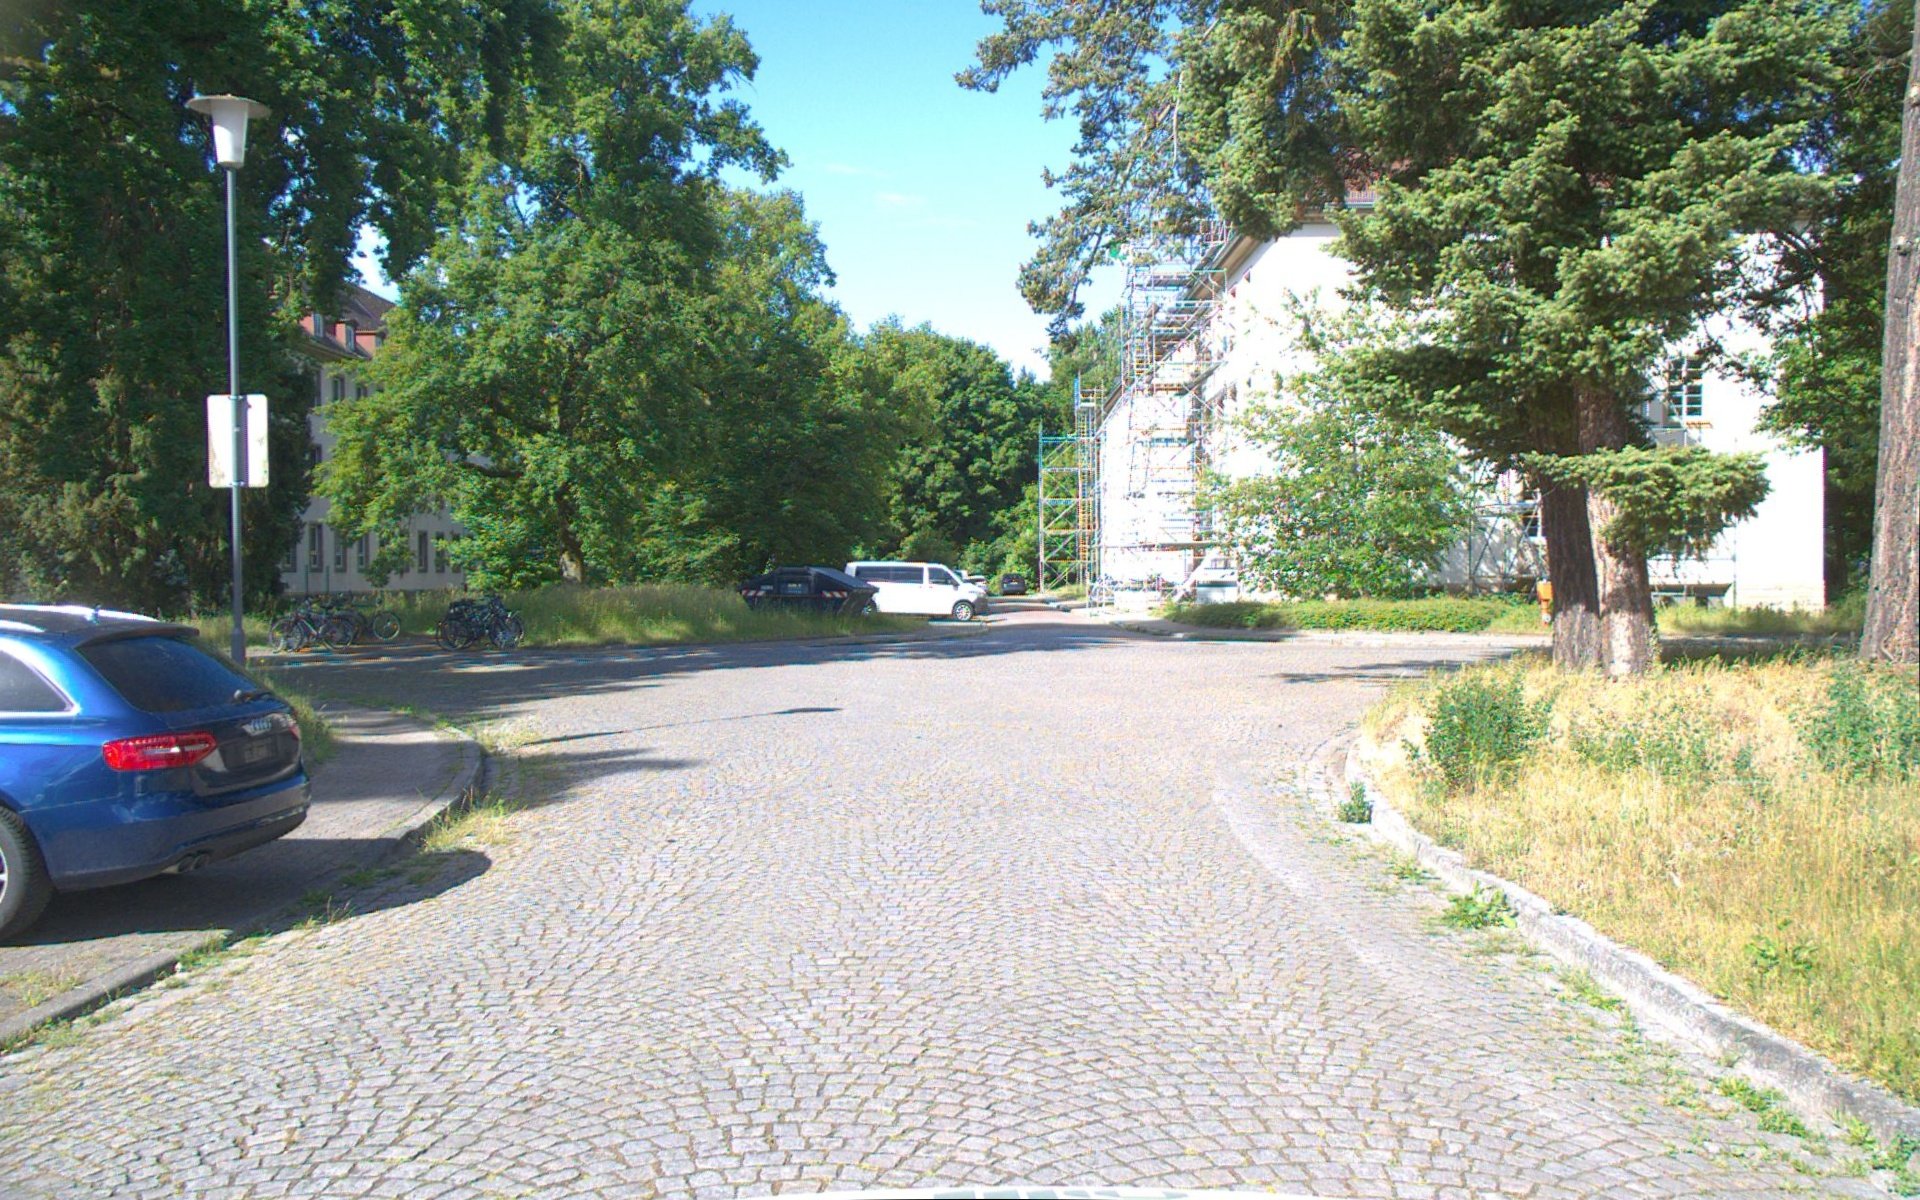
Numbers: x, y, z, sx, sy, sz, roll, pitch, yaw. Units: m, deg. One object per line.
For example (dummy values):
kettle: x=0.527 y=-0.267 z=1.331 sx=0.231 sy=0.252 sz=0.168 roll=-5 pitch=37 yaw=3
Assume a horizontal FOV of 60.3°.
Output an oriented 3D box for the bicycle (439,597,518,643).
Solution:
bicycle: x=-12.490 y=0.505 z=42.931 sx=1.886 sy=1.076 sz=0.473 roll=-3 pitch=1 yaw=-21

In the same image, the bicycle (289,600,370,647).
bicycle: x=-15.936 y=0.590 z=41.822 sx=1.884 sy=1.122 sz=0.567 roll=-1 pitch=2 yaw=-19

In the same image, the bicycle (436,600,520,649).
bicycle: x=-11.735 y=0.580 z=40.262 sx=1.886 sy=1.076 sz=0.473 roll=-3 pitch=1 yaw=-21

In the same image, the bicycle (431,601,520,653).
bicycle: x=-11.152 y=0.618 z=38.097 sx=1.887 sy=1.076 sz=0.472 roll=-3 pitch=1 yaw=-23

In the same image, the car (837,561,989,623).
car: x=-1.580 y=-0.270 z=56.982 sx=5.127 sy=2.051 sz=1.950 roll=-1 pitch=0 yaw=-1

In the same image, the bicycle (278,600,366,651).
bicycle: x=-15.004 y=0.595 z=38.921 sx=1.891 sy=1.122 sz=0.565 roll=-1 pitch=2 yaw=-28

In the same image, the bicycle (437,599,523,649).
bicycle: x=-11.437 y=0.555 z=39.450 sx=1.887 sy=1.076 sz=0.472 roll=-3 pitch=1 yaw=-23

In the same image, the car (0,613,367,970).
car: x=-5.401 y=0.824 z=8.105 sx=4.268 sy=1.470 sz=1.922 roll=0 pitch=1 yaw=3

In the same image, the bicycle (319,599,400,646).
bicycle: x=-14.988 y=0.563 z=41.305 sx=1.884 sy=1.122 sz=0.567 roll=-1 pitch=2 yaw=-19

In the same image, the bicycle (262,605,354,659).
bicycle: x=-14.695 y=0.713 z=37.263 sx=1.888 sy=1.122 sz=0.566 roll=-2 pitch=2 yaw=-25

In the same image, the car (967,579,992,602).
car: x=1.432 y=-0.716 z=122.996 sx=1.775 sy=1.607 sz=4.134 roll=-1 pitch=1 yaw=0

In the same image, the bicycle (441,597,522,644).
bicycle: x=-12.156 y=0.509 z=42.027 sx=1.886 sy=1.076 sz=0.473 roll=-3 pitch=1 yaw=-21

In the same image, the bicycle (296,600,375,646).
bicycle: x=-16.138 y=0.585 z=42.766 sx=1.887 sy=1.122 sz=0.566 roll=-1 pitch=2 yaw=-24

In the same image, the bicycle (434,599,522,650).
bicycle: x=-11.259 y=0.561 z=38.660 sx=1.887 sy=1.076 sz=0.472 roll=-3 pitch=1 yaw=-23

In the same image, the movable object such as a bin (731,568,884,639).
movable object such as a bin: x=-4.030 y=0.089 z=43.887 sx=3.491 sy=1.775 sz=2.026 roll=-1 pitch=0 yaw=19

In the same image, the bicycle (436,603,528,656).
bicycle: x=-10.726 y=0.644 z=37.106 sx=1.892 sy=1.076 sz=0.471 roll=-3 pitch=1 yaw=-29

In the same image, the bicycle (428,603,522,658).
bicycle: x=-10.713 y=0.663 z=36.551 sx=1.892 sy=1.076 sz=0.471 roll=-3 pitch=1 yaw=-29

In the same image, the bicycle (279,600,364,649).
bicycle: x=-15.520 y=0.596 z=40.221 sx=1.891 sy=1.122 sz=0.565 roll=-1 pitch=2 yaw=-28

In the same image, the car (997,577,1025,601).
car: x=3.788 y=-0.815 z=123.296 sx=1.930 sy=1.697 sz=4.086 roll=-1 pitch=1 yaw=0

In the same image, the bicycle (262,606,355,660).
bicycle: x=-14.486 y=0.723 z=36.767 sx=1.888 sy=1.122 sz=0.566 roll=-2 pitch=2 yaw=-25
